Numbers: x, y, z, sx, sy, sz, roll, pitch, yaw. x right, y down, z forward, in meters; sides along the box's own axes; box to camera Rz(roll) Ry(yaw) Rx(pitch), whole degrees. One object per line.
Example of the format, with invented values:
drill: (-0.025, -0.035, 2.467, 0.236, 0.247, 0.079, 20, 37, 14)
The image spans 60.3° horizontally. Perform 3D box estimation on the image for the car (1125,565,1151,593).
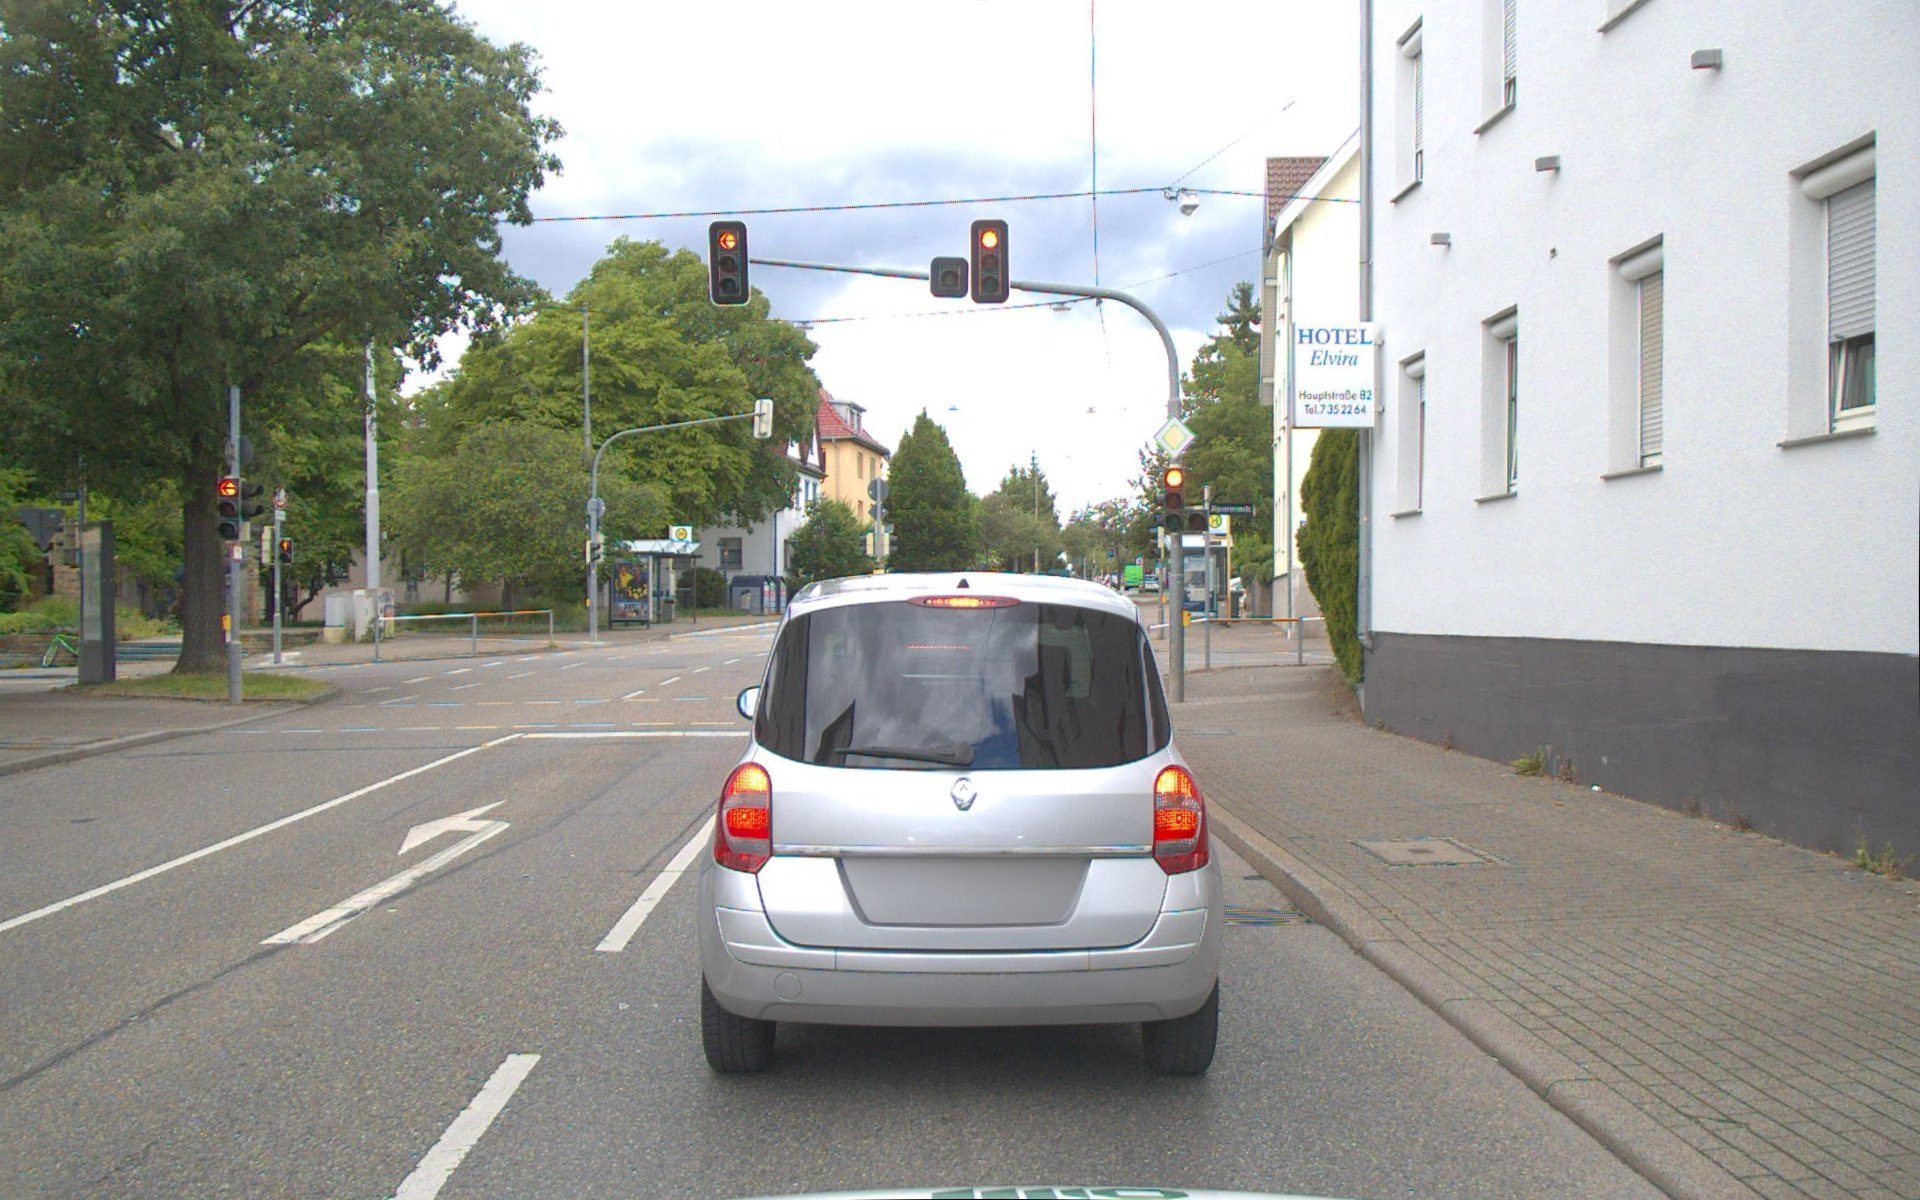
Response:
car: (17.002, -1.962, 157.542, 2.015, 2.556, 5.600, 1, 0, 11)

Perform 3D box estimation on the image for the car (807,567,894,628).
car: (-3.543, -0.104, 54.140, 1.885, 1.804, 4.004, -4, 0, 9)

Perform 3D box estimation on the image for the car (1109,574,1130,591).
car: (17.080, -1.827, 176.703, 1.818, 1.778, 4.003, 1, 0, 11)

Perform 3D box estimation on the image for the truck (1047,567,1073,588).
truck: (10.088, -2.284, 166.694, 2.056, 2.049, 5.752, 1, 0, 9)

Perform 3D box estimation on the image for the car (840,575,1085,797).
car: (-0.020, 0.610, 13.626, 1.719, 1.557, 3.796, 1, 0, -1)

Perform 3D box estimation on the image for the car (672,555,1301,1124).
car: (0.036, 0.661, 6.559, 1.719, 1.557, 3.999, 1, 0, -1)
